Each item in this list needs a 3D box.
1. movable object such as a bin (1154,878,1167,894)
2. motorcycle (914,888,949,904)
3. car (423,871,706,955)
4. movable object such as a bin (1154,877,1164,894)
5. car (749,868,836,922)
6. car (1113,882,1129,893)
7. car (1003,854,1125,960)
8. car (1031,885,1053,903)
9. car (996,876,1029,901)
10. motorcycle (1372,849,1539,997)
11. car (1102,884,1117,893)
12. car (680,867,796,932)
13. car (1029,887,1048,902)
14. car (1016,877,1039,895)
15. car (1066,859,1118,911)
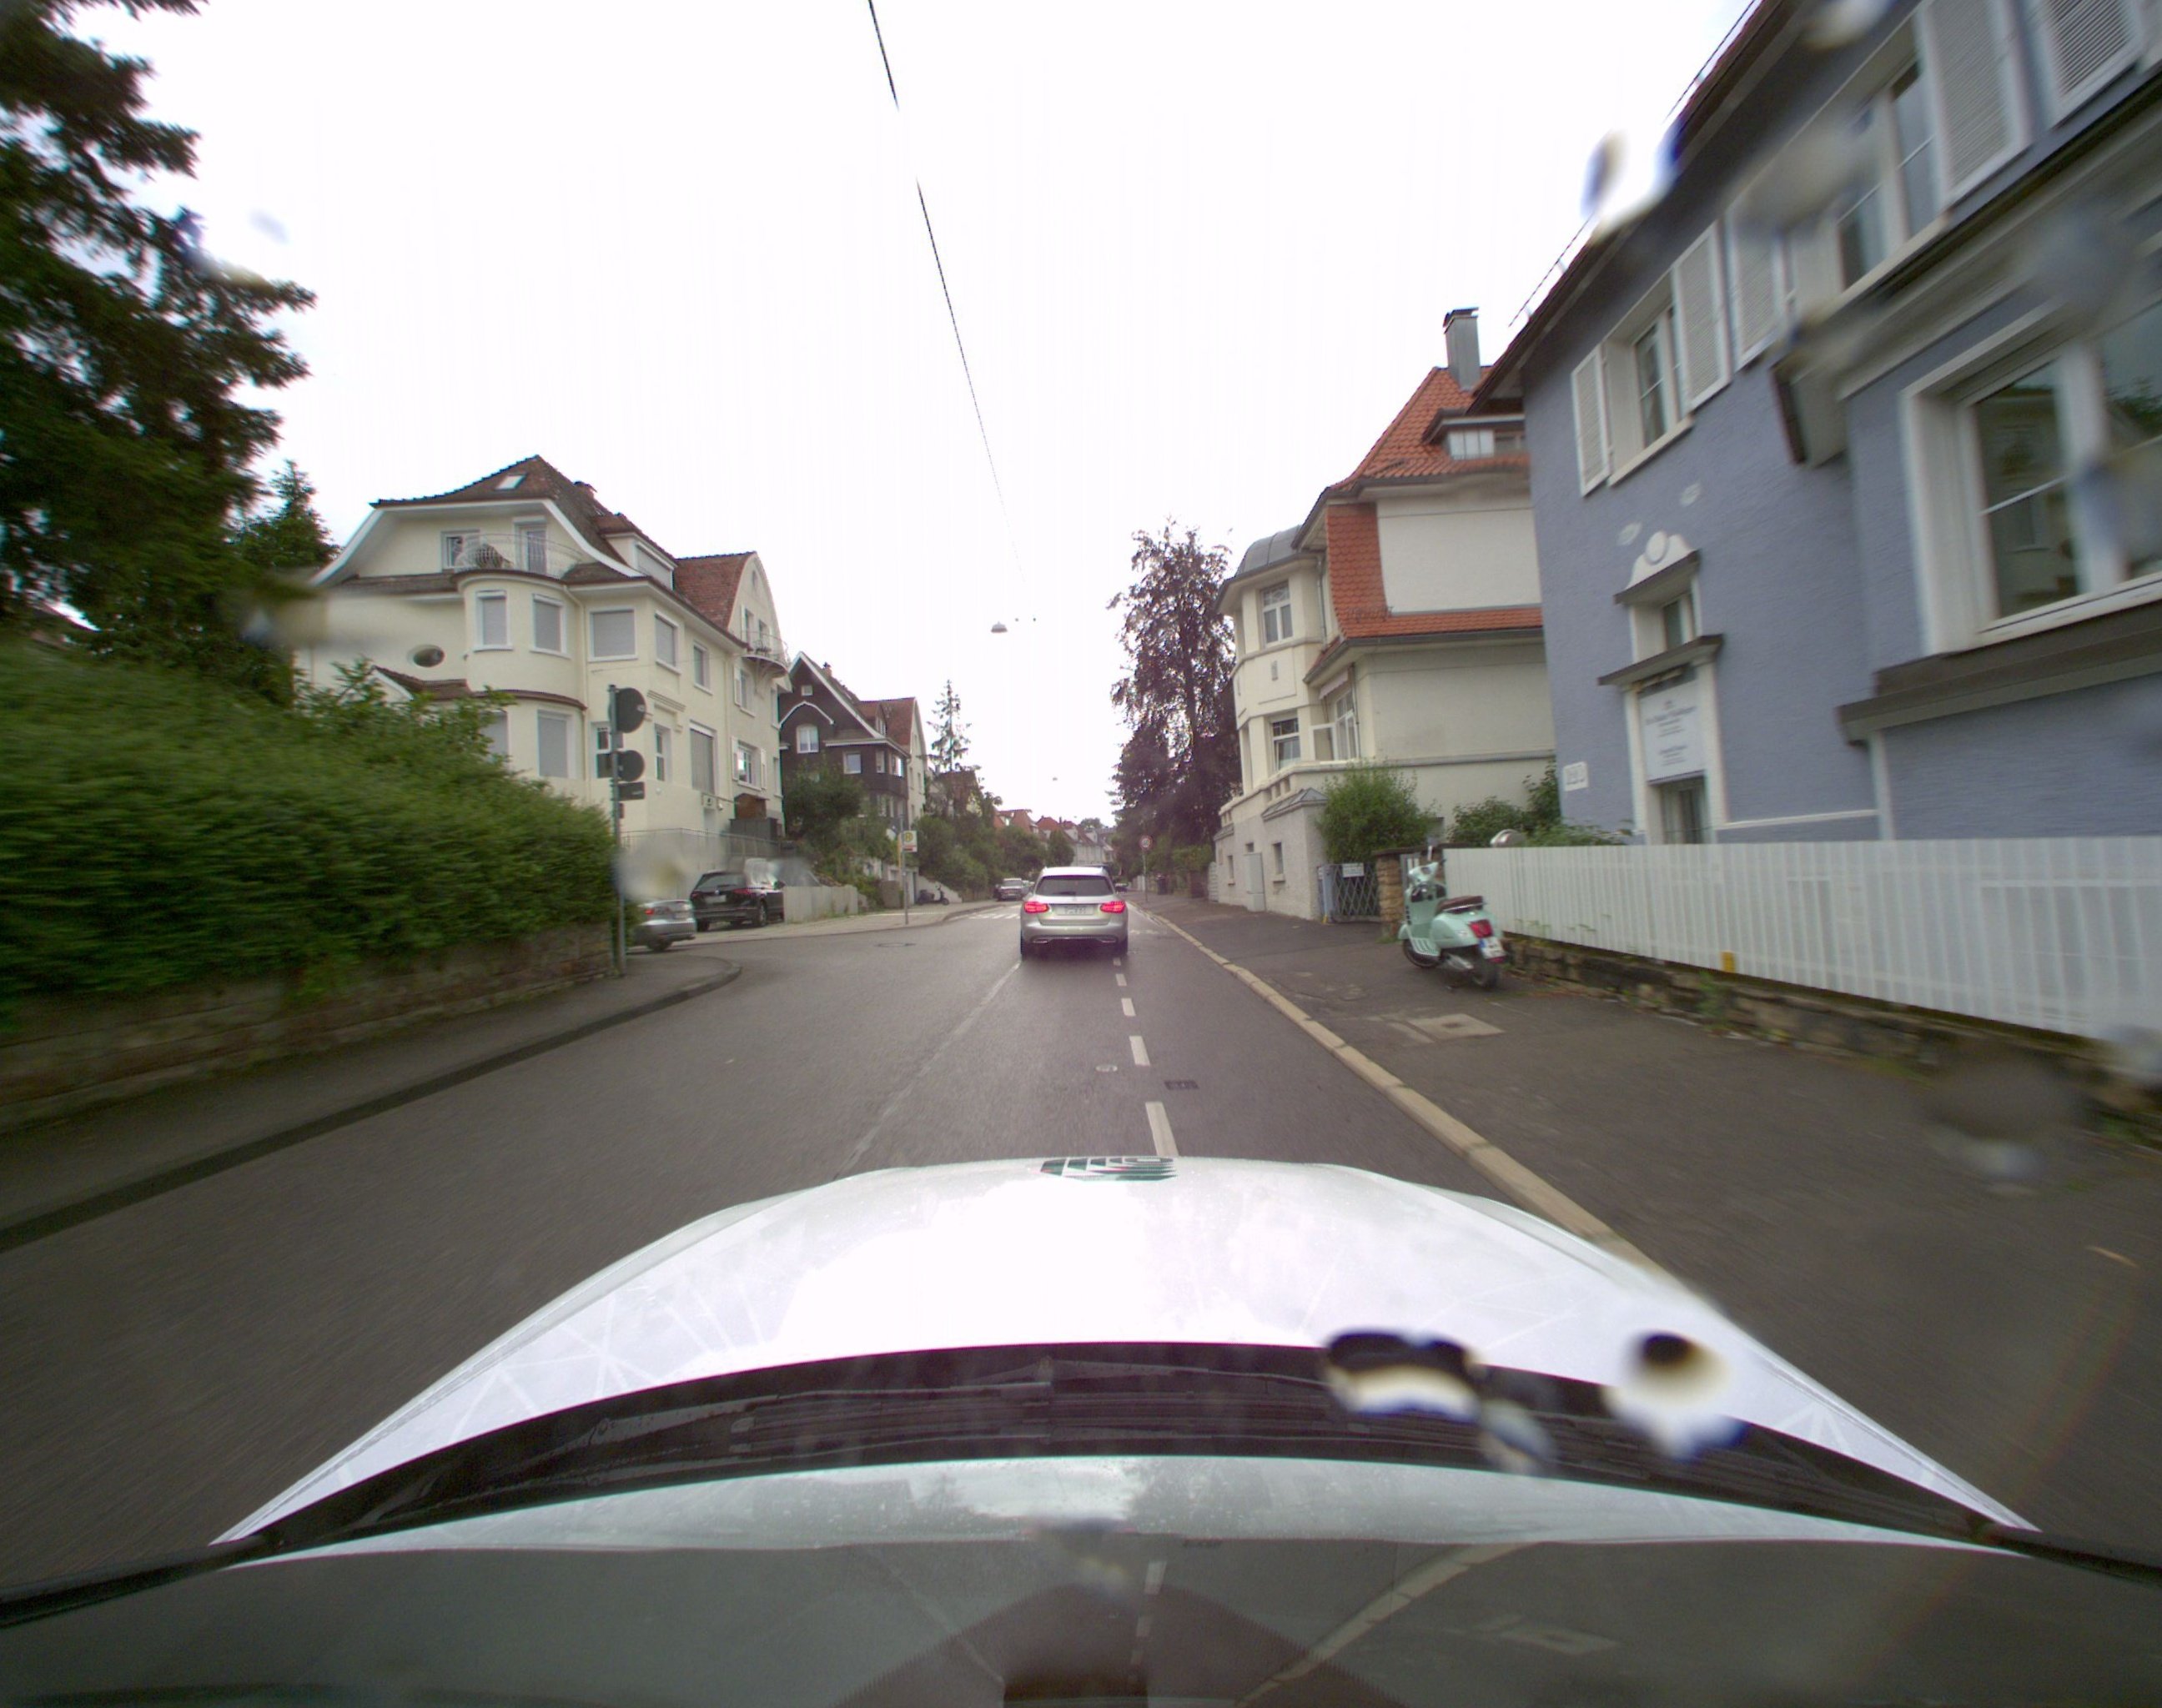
[{"bbox_3d":[4.465,1.773,45.816,0.649,0.856,0.503,-2,-1,-2],"label":"movable object such as a bin"},{"bbox_3d":[-8.337,2.334,45.417,1.788,0.903,0.603,0,-3,-1],"label":"motorcycle"},{"bbox_3d":[-10.124,1.134,16.291,4.360,1.556,1.818,1,-1,-7],"label":"car"},{"bbox_3d":[4.422,1.799,46.369,0.493,0.956,0.503,-2,-1,-2],"label":"movable object such as a bin"},{"bbox_3d":[-10.019,1.375,28.610,1.762,1.696,3.995,-2,-1,-4],"label":"car"},{"bbox_3d":[7.855,6.487,159.239,1.814,2.056,5.032,-3,-3,18],"label":"car"},{"bbox_3d":[-0.226,0.836,14.380,1.810,1.556,4.000,-2,-1,1],"label":"car"},{"bbox_3d":[-4.373,4.476,91.368,1.986,1.879,5.358,-2,-2,2],"label":"car"},{"bbox_3d":[-4.749,2.411,57.380,1.887,1.622,4.377,-2,-2,0],"label":"car"},{"bbox_3d":[3.708,0.623,8.307,0.690,1.225,2.156,-9,-1,5],"label":"motorcycle"},{"bbox_3d":[5.315,6.433,152.034,1.631,1.417,4.630,-3,-3,15],"label":"car"},{"bbox_3d":[-9.657,1.211,23.266,1.762,1.618,3.995,-2,-1,-4],"label":"car"},{"bbox_3d":[-4.375,4.138,84.132,1.688,1.447,3.814,-3,-3,1],"label":"car"},{"bbox_3d":[-4.708,2.797,72.116,1.750,1.447,4.415,-2,-1,0],"label":"car"},{"bbox_3d":[0.508,1.290,33.156,1.835,1.904,4.003,-2,-3,3],"label":"car"}]
